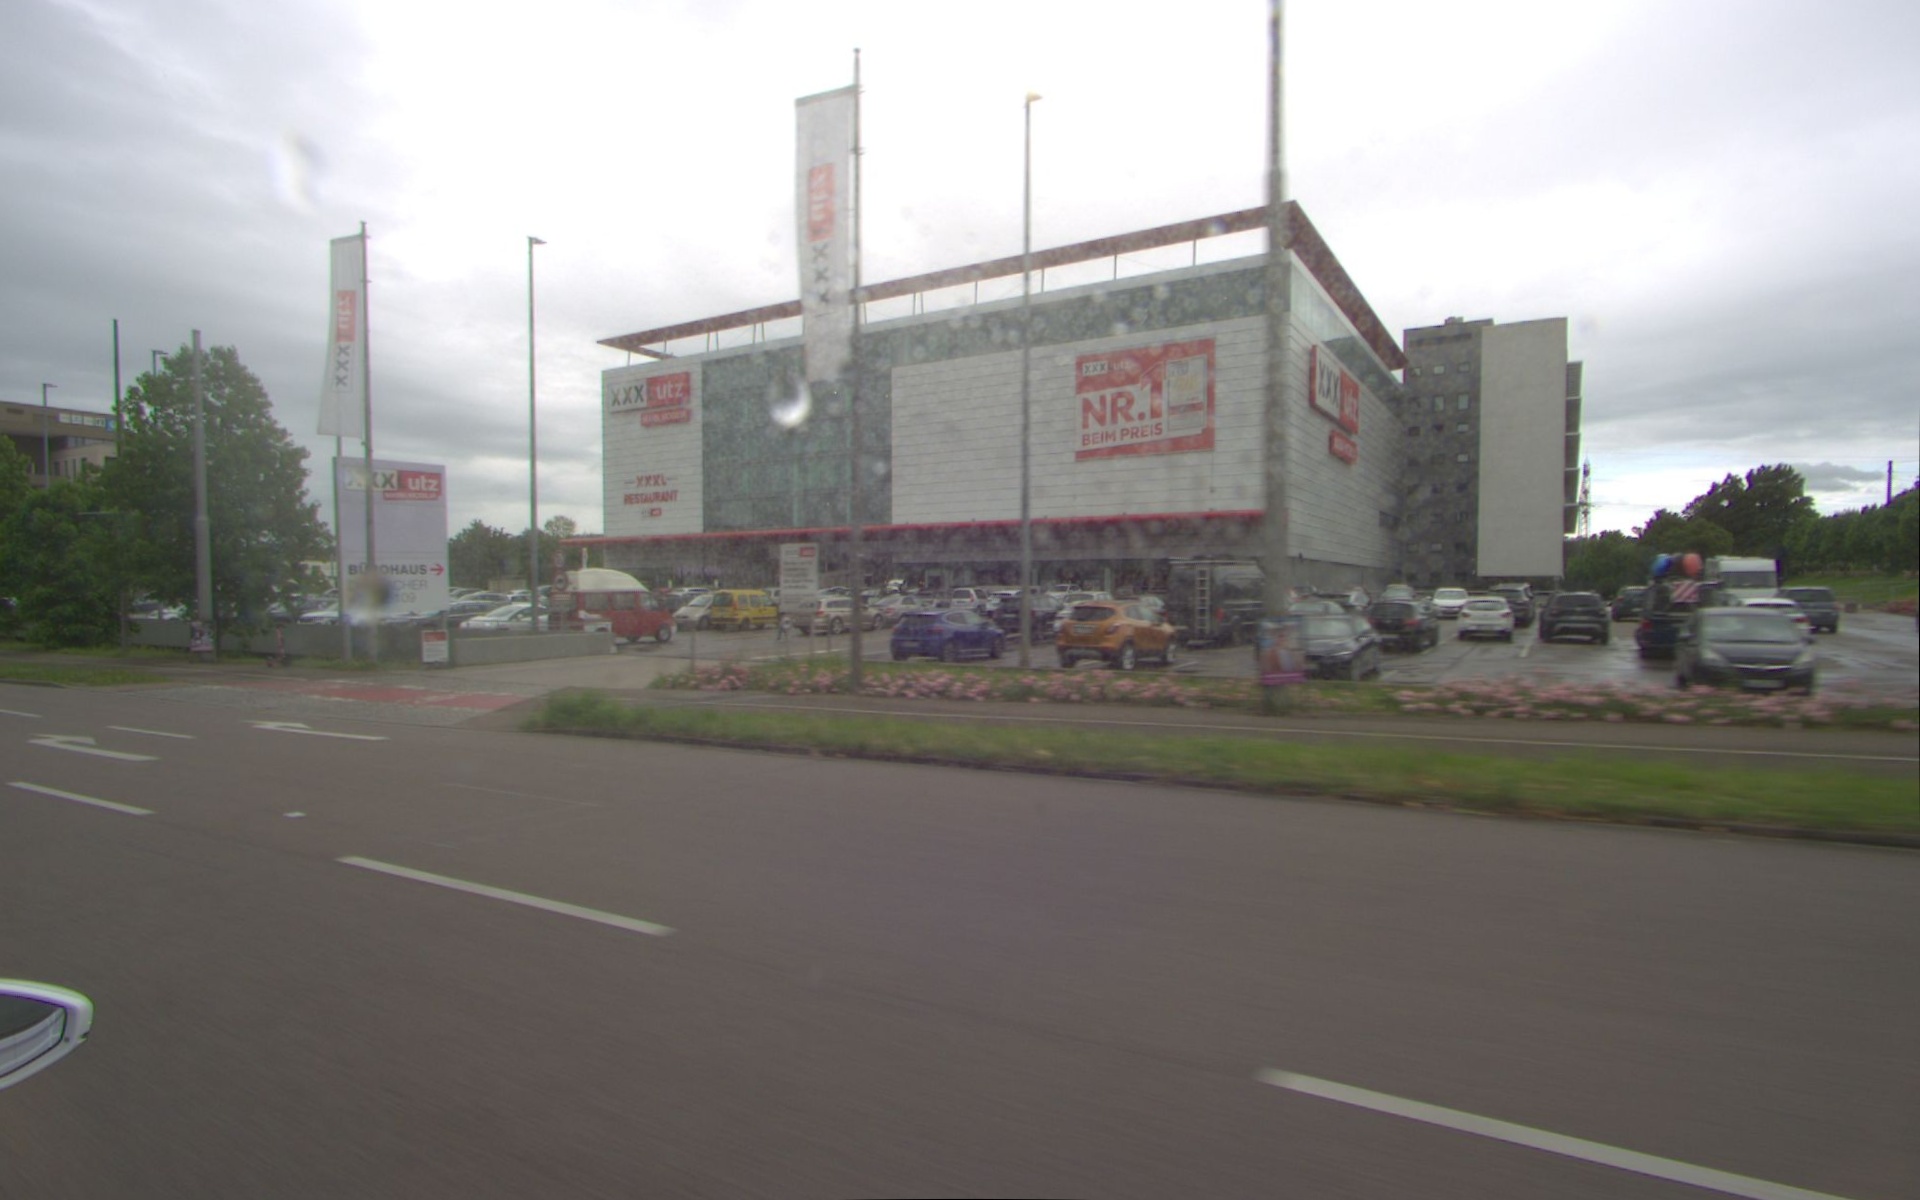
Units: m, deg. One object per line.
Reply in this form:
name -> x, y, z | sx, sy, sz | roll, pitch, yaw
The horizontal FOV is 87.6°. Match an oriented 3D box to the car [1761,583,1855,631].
car -> 31.317, 0.241, 37.104 | 1.857, 1.688, 3.982 | 0, 1, 29

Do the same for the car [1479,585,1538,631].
car -> 23.292, 0.283, 42.460 | 1.839, 1.805, 4.197 | 1, 2, 34

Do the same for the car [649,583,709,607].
car -> -19.615, -0.333, 70.108 | 1.719, 1.575, 3.780 | 3, 2, 37

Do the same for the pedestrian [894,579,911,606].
pedestrian -> -4.234, -0.554, 73.679 | 0.953, 1.895, 0.948 | 2, 2, 18

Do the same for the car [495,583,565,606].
car -> -25.619, -0.337, 59.783 | 1.643, 1.314, 3.560 | 2, 1, 32

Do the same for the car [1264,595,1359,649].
car -> 11.167, 0.669, 31.655 | 1.972, 1.589, 3.978 | -1, 0, 32

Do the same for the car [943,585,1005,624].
car -> 0.834, 0.240, 57.156 | 1.885, 2.084, 3.982 | 2, 1, 29

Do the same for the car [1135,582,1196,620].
car -> 10.388, 0.010, 50.386 | 1.826, 1.800, 4.177 | 1, 2, 29

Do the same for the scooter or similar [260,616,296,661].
scooter or similar -> -19.088, 1.058, 28.010 | 1.230, 1.207, 0.369 | 1, 2, 32

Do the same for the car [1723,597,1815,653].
car -> 23.967, 0.689, 29.782 | 1.721, 1.496, 4.186 | 0, 0, 33

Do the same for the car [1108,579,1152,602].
car -> 11.688, -0.621, 68.583 | 1.699, 1.497, 3.520 | 3, 1, 33

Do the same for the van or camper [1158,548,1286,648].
van or camper -> 8.706, -0.075, 32.878 | 1.967, 3.023, 5.355 | 0, 0, 40

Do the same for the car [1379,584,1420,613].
car -> 26.055, -0.126, 59.333 | 1.627, 1.581, 3.594 | 1, 2, 33

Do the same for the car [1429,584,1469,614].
car -> 28.105, -0.101, 57.499 | 1.627, 1.581, 3.594 | 1, 2, 33

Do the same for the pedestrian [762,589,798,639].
pedestrian -> -6.587, 0.502, 36.681 | 0.872, 1.743, 0.938 | 3, 2, 31

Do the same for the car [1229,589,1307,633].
car -> 11.707, 0.409, 37.943 | 1.829, 1.576, 3.978 | 0, 0, 33

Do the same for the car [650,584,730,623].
car -> -14.866, 0.202, 55.282 | 1.949, 2.040, 3.977 | 0, 0, 33

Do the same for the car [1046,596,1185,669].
car -> 3.960, 0.752, 25.021 | 1.792, 1.665, 3.973 | 0, 0, 36

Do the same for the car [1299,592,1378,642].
car -> 13.759, 0.577, 36.268 | 1.859, 1.692, 3.976 | 0, 1, 33

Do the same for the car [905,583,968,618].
car -> -1.321, 0.032, 58.457 | 1.905, 1.951, 3.982 | 0, 0, 29

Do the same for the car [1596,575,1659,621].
car -> 30.108, -0.060, 45.300 | 1.969, 1.976, 3.983 | 0, 0, 28

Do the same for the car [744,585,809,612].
car -> -11.800, -0.120, 64.444 | 1.856, 1.632, 3.976 | 3, 1, 34

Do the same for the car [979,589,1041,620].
car -> 2.820, 0.253, 55.450 | 1.807, 1.676, 3.981 | 0, 0, 30

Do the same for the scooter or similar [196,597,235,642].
scooter or similar -> -24.855, 0.651, 33.405 | 1.798, 1.440, 0.647 | -1, 1, 41

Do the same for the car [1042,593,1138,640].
car -> 4.711, 0.560, 35.856 | 1.838, 1.572, 3.977 | 0, 0, 33

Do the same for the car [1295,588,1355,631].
car -> 16.969, 0.446, 46.402 | 1.807, 1.886, 3.978 | 0, 0, 32

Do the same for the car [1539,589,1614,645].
car -> 20.071, 0.534, 32.713 | 1.971, 1.697, 3.980 | 0, 0, 31

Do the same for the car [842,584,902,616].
car -> -5.341, 0.024, 61.218 | 1.859, 1.846, 3.984 | 0, 0, 28

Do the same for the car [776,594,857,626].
car -> -7.045, 0.484, 49.343 | 1.762, 1.514, 3.977 | 0, 0, 34

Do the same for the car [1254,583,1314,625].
car -> 16.713, 0.214, 51.475 | 1.972, 2.040, 3.977 | 0, 0, 33

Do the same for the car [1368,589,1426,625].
car -> 21.590, 0.299, 49.396 | 1.923, 1.676, 3.975 | 0, 1, 34
